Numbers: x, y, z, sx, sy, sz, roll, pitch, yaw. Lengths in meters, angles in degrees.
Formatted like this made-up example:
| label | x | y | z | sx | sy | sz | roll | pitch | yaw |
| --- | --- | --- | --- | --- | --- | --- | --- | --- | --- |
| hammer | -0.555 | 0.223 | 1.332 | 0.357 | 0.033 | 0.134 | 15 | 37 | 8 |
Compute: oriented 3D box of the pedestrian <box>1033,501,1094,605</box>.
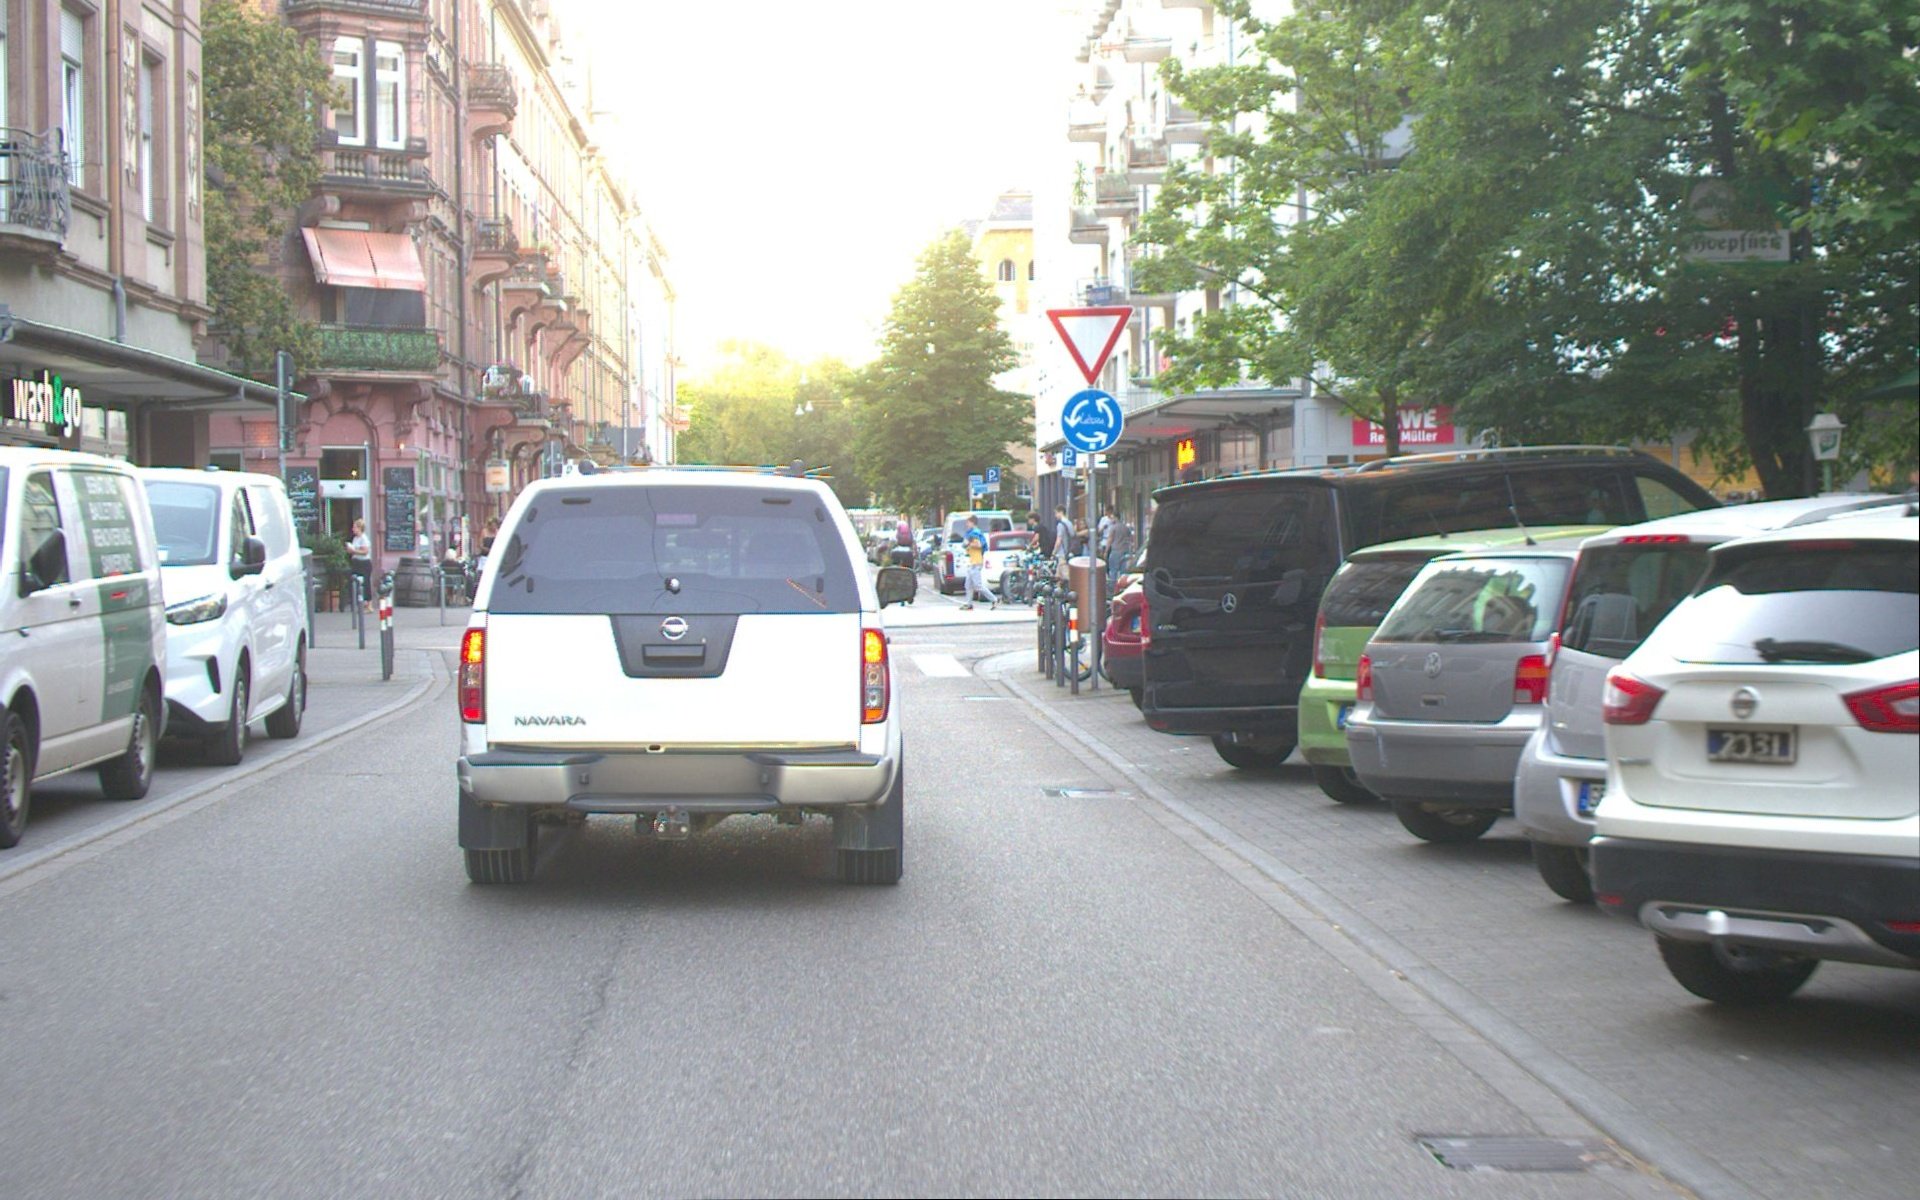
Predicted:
| label | x | y | z | sx | sy | sz | roll | pitch | yaw |
| --- | --- | --- | --- | --- | --- | --- | --- | --- | --- |
| pedestrian | 1.888 | -0.858 | 62.579 | 0.903 | 1.878 | 0.616 | 1 | 0 | -33 |

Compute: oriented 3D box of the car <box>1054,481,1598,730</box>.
| label | x | y | z | sx | sy | sz | roll | pitch | yaw |
| --- | --- | --- | --- | --- | --- | --- | --- | --- | --- |
| car | 3.005 | 0.001 | 27.755 | 4.213 | 1.682 | 1.933 | -5 | 3 | -40 |

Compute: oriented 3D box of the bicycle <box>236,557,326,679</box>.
| label | x | y | z | sx | sy | sz | roll | pitch | yaw |
| --- | --- | --- | --- | --- | --- | --- | --- | --- | --- |
| bicycle | -6.552 | 0.161 | 33.231 | 0.471 | 1.138 | 1.785 | 1 | 0 | 1 |

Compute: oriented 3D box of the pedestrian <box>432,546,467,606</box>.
| label | x | y | z | sx | sy | sz | roll | pitch | yaw |
| --- | --- | --- | --- | --- | --- | --- | --- | --- | --- |
| pedestrian | -10.267 | -0.484 | 69.151 | 0.648 | 1.187 | 0.540 | 1 | 0 | -6 |

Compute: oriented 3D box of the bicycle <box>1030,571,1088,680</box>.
| label | x | y | z | sx | sy | sz | roll | pitch | yaw |
| --- | --- | --- | --- | --- | --- | --- | --- | --- | --- |
| bicycle | 0.985 | 0.248 | 34.417 | 0.364 | 1.060 | 1.552 | 1 | 0 | -6 |

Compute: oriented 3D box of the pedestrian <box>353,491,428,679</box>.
| label | x | y | z | sx | sy | sz | roll | pitch | yaw |
| --- | --- | --- | --- | --- | --- | --- | --- | --- | --- |
| pedestrian | -5.611 | -0.146 | 33.888 | 0.536 | 1.817 | 0.997 | 1 | 0 | 1 |

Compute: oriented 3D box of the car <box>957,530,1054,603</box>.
| label | x | y | z | sx | sy | sz | roll | pitch | yaw |
| --- | --- | --- | --- | --- | --- | --- | --- | --- | --- |
| car | 0.965 | -0.738 | 75.412 | 1.834 | 1.536 | 4.001 | 1 | 0 | -3 |

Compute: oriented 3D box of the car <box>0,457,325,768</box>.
| label | x | y | z | sx | sy | sz | roll | pitch | yaw |
| --- | --- | --- | --- | --- | --- | --- | --- | --- | --- |
| car | -5.751 | 0.034 | 23.772 | 2.109 | 1.915 | 5.027 | 0 | 1 | -4 |

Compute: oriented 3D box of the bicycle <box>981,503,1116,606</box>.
| label | x | y | z | sx | sy | sz | roll | pitch | yaw |
| --- | --- | --- | --- | --- | --- | --- | --- | --- | --- |
| bicycle | 1.759 | -0.907 | 68.771 | 2.647 | 2.007 | 0.638 | 1 | 0 | -1 |

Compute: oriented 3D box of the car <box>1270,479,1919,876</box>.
| label | x | y | z | sx | sy | sz | roll | pitch | yaw |
| --- | --- | --- | --- | --- | --- | --- | --- | --- | --- |
| car | 3.693 | 0.270 | 16.487 | 4.096 | 1.546 | 1.818 | -4 | 2 | -34 |

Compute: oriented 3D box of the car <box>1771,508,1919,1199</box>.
| label | x | y | z | sx | sy | sz | roll | pitch | yaw |
| --- | --- | --- | --- | --- | --- | --- | --- | --- | --- |
| car | 4.082 | 0.488 | 7.982 | 4.154 | 1.585 | 1.886 | -4 | 3 | -33 |

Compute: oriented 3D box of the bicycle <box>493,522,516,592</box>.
| label | x | y | z | sx | sy | sz | roll | pitch | yaw |
| --- | --- | --- | --- | --- | --- | --- | --- | --- | --- |
| bicycle | -9.467 | -0.894 | 71.490 | 0.424 | 1.437 | 1.905 | 1 | 0 | -7 |

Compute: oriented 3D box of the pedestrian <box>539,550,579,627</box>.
| label | x | y | z | sx | sy | sz | roll | pitch | yaw |
| --- | --- | --- | --- | --- | --- | --- | --- | --- | --- |
| pedestrian | -8.518 | -0.244 | 73.086 | 0.797 | 1.615 | 0.945 | 1 | 0 | -5 |

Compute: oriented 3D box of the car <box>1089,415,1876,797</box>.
| label | x | y | z | sx | sy | sz | roll | pitch | yaw |
| --- | --- | --- | --- | --- | --- | --- | --- | --- | --- |
| car | 3.540 | -0.052 | 22.500 | 5.422 | 2.065 | 1.933 | -5 | 3 | -40 |

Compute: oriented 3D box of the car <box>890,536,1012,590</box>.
| label | x | y | z | sx | sy | sz | roll | pitch | yaw |
| --- | --- | --- | --- | --- | --- | --- | --- | --- | --- |
| car | -0.307 | -1.241 | 115.510 | 3.986 | 1.744 | 1.841 | 1 | 0 | -3 |

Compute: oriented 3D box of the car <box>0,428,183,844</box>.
| label | x | y | z | sx | sy | sz | roll | pitch | yaw |
| --- | --- | --- | --- | --- | --- | --- | --- | --- | --- |
| car | -5.397 | 0.137 | 17.667 | 1.837 | 1.915 | 4.846 | 0 | 1 | -2 |

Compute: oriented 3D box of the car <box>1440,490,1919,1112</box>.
| label | x | y | z | sx | sy | sz | roll | pitch | yaw |
| --- | --- | --- | --- | --- | --- | --- | --- | --- | --- |
| car | 3.716 | 0.424 | 10.890 | 4.096 | 1.585 | 1.818 | -4 | 2 | -33 |

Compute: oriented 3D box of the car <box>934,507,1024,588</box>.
| label | x | y | z | sx | sy | sz | roll | pitch | yaw |
| --- | --- | --- | --- | --- | --- | --- | --- | --- | --- |
| car | 0.437 | -1.276 | 84.174 | 1.942 | 1.927 | 4.001 | 1 | 0 | -3 |

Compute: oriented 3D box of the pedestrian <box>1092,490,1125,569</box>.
| label | x | y | z | sx | sy | sz | roll | pitch | yaw |
| --- | --- | --- | --- | --- | --- | --- | --- | --- | --- |
| pedestrian | 3.597 | -1.699 | 83.451 | 0.720 | 1.900 | 0.702 | 1 | 0 | -2 |

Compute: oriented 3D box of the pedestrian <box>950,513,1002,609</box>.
| label | x | y | z | sx | sy | sz | roll | pitch | yaw |
| --- | --- | --- | --- | --- | --- | --- | --- | --- | --- |
| pedestrian | 0.293 | -0.703 | 62.279 | 0.903 | 1.730 | 0.616 | 1 | 0 | 3 |

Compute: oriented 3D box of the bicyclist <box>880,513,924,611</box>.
| label | x | y | z | sx | sy | sz | roll | pitch | yaw |
| --- | --- | --- | --- | --- | --- | --- | --- | --- | --- |
| bicyclist | -1.161 | -0.760 | 69.134 | 0.838 | 1.937 | 0.785 | 1 | 0 | 1 |

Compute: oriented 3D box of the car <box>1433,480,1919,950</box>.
| label | x | y | z | sx | sy | sz | roll | pitch | yaw |
| --- | --- | --- | --- | --- | --- | --- | --- | --- | --- |
| car | 4.041 | 0.319 | 14.114 | 4.097 | 1.585 | 1.818 | -5 | 3 | -40 |

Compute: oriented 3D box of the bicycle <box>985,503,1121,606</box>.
| label | x | y | z | sx | sy | sz | roll | pitch | yaw |
| --- | --- | --- | --- | --- | --- | --- | --- | --- | --- |
| bicycle | 1.835 | -0.899 | 67.958 | 2.647 | 2.007 | 0.638 | 1 | 0 | -1 |

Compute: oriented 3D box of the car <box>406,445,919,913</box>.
| label | x | y | z | sx | sy | sz | roll | pitch | yaw |
| --- | --- | --- | --- | --- | --- | --- | --- | --- | --- |
| car | -1.195 | 0.288 | 15.941 | 1.938 | 1.804 | 5.001 | 1 | 0 | 0 |

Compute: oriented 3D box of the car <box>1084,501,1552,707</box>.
| label | x | y | z | sx | sy | sz | roll | pitch | yaw |
| --- | --- | --- | --- | --- | --- | --- | --- | --- | --- |
| car | 3.269 | -0.015 | 31.105 | 4.036 | 1.622 | 1.693 | -3 | 3 | -34 |

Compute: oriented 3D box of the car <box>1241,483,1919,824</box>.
| label | x | y | z | sx | sy | sz | roll | pitch | yaw |
| --- | --- | --- | --- | --- | --- | --- | --- | --- | --- |
| car | 3.778 | 0.224 | 19.172 | 4.096 | 1.546 | 1.818 | -4 | 2 | -34 |

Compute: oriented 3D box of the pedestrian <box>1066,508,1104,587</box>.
| label | x | y | z | sx | sy | sz | roll | pitch | yaw |
| --- | --- | --- | --- | --- | --- | --- | --- | --- | --- |
| pedestrian | 2.645 | -1.106 | 72.697 | 0.720 | 1.657 | 0.702 | 1 | 0 | -2 |

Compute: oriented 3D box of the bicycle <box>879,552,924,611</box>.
| label | x | y | z | sx | sy | sz | roll | pitch | yaw |
| --- | --- | --- | --- | --- | --- | --- | --- | --- | --- |
| bicycle | -1.179 | -0.376 | 69.262 | 0.838 | 1.167 | 1.936 | 1 | 0 | 1 |

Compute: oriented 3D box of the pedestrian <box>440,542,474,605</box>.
| label | x | y | z | sx | sy | sz | roll | pitch | yaw |
| --- | --- | --- | --- | --- | --- | --- | --- | --- | --- |
| pedestrian | -10.291 | -0.542 | 70.337 | 0.648 | 1.281 | 0.540 | 1 | 0 | -6 |
